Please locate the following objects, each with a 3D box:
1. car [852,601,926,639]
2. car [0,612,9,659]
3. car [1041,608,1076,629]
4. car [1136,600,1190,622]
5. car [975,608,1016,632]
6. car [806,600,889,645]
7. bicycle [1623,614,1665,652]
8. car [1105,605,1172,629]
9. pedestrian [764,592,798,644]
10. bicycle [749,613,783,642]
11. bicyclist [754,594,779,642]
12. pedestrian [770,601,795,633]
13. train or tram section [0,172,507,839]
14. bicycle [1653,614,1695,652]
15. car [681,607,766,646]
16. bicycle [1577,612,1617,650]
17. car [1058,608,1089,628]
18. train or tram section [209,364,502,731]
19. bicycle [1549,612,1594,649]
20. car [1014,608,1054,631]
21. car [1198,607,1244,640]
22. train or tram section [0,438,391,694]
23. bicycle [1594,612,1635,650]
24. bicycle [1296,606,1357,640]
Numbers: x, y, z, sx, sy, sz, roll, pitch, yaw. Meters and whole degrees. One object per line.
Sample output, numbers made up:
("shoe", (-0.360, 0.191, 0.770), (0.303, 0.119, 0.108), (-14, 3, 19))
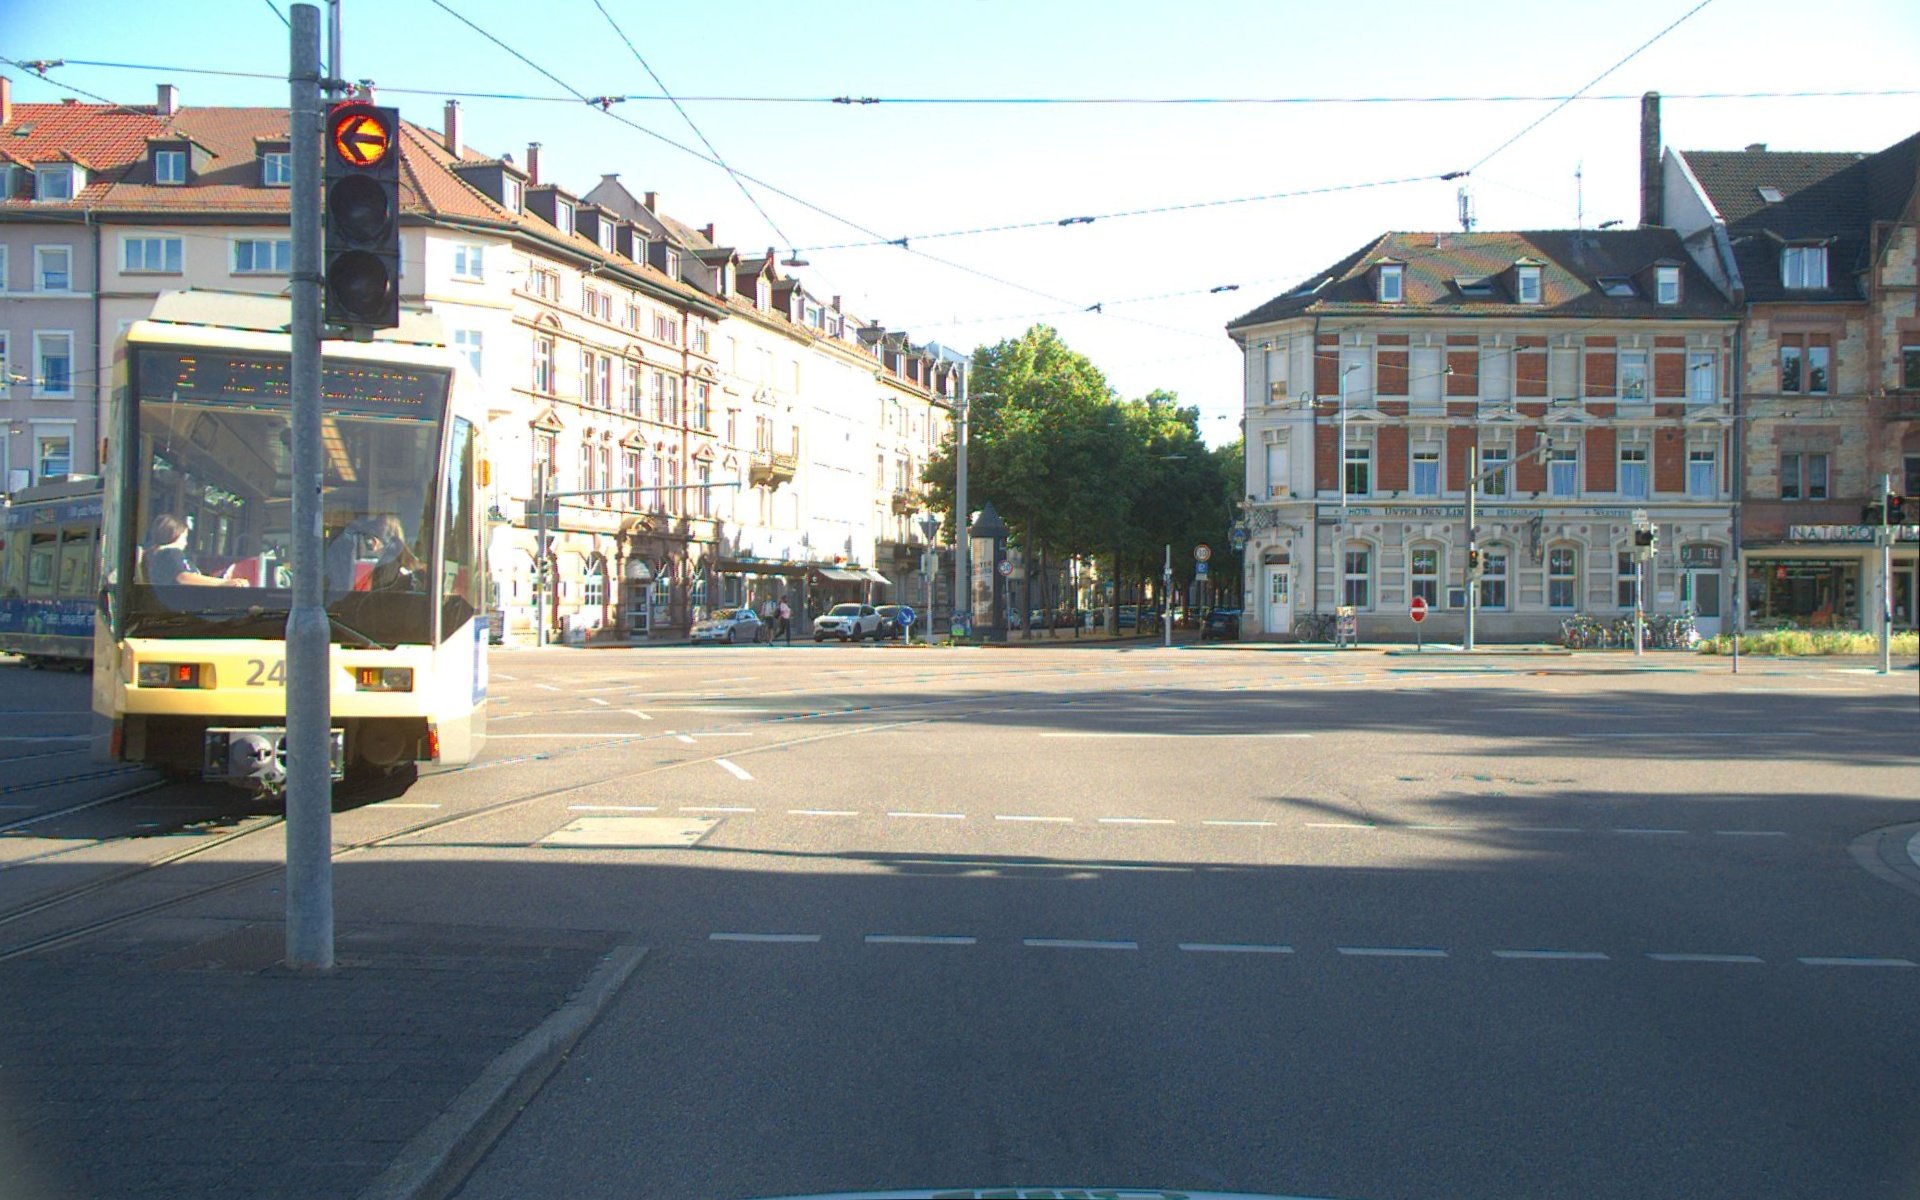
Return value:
("car", (-3.146, 0.859, 73.781), (1.951, 1.640, 4.393), (0, 0, 17))
("car", (-32.397, 1.145, 51.939), (3.907, 1.478, 1.999), (0, 0, -3))
("car", (7.783, 1.415, 130.555), (1.798, 1.579, 4.393), (0, 0, 16))
("car", (16.421, 0.876, 133.865), (3.912, 1.736, 1.996), (0, 0, 30))
("car", (2.415, 1.319, 110.983), (1.951, 1.512, 4.003), (0, 0, 13))
("car", (-4.541, 0.881, 67.246), (1.951, 1.713, 4.393), (0, 0, 17))
("bicycle", (22.074, 1.050, 53.442), (0.605, 1.163, 2.175), (0, 0, 4))
("car", (12.477, 1.189, 115.649), (4.290, 1.640, 1.998), (0, 0, 26))
("pedestrian", (-6.207, 0.625, 57.360), (1.029, 1.774, 0.805), (0, 0, -17))
("bicycle", (-7.595, 1.079, 64.882), (0.665, 1.085, 2.127), (0, 0, 12))
("bicyclist", (-7.584, 0.692, 64.924), (0.664, 1.852, 1.071), (0, 0, 12))
("pedestrian", (-8.685, 0.844, 81.030), (0.908, 1.562, 1.138), (0, 0, 13))
("train or tram section", (-5.020, -0.531, 12.976), (2.768, 3.561, 7.930), (0, 0, -15))
("bicycle", (23.038, 1.053, 53.390), (0.596, 1.156, 2.136), (0, 0, 4))
("car", (-9.525, 1.033, 66.892), (1.858, 1.481, 4.002), (0, 0, 17))
("bicycle", (20.594, 0.993, 53.531), (0.605, 1.163, 2.175), (0, 0, 4))
("car", (9.395, 1.454, 136.456), (1.727, 1.576, 4.394), (0, 0, 16))
("train or tram section", (-7.695, -0.540, 20.510), (2.777, 3.561, 8.400), (0, 0, -23))
("bicycle", (19.823, 0.983, 53.650), (0.789, 1.163, 2.175), (0, 0, 4))
("car", (5.530, 1.418, 122.731), (1.951, 1.640, 4.393), (0, 0, 17))
("car", (13.072, 1.154, 82.626), (1.951, 1.613, 4.003), (0, 0, 13))
("train or tram section", (-13.584, -0.509, 28.325), (2.757, 3.561, 11.840), (0, 0, -43))
("bicycle", (21.166, 0.988, 53.501), (0.605, 1.163, 2.175), (0, 0, 4))
("bicycle", (12.752, 0.814, 57.575), (2.045, 1.144, 0.366), (1, -1, -5))
